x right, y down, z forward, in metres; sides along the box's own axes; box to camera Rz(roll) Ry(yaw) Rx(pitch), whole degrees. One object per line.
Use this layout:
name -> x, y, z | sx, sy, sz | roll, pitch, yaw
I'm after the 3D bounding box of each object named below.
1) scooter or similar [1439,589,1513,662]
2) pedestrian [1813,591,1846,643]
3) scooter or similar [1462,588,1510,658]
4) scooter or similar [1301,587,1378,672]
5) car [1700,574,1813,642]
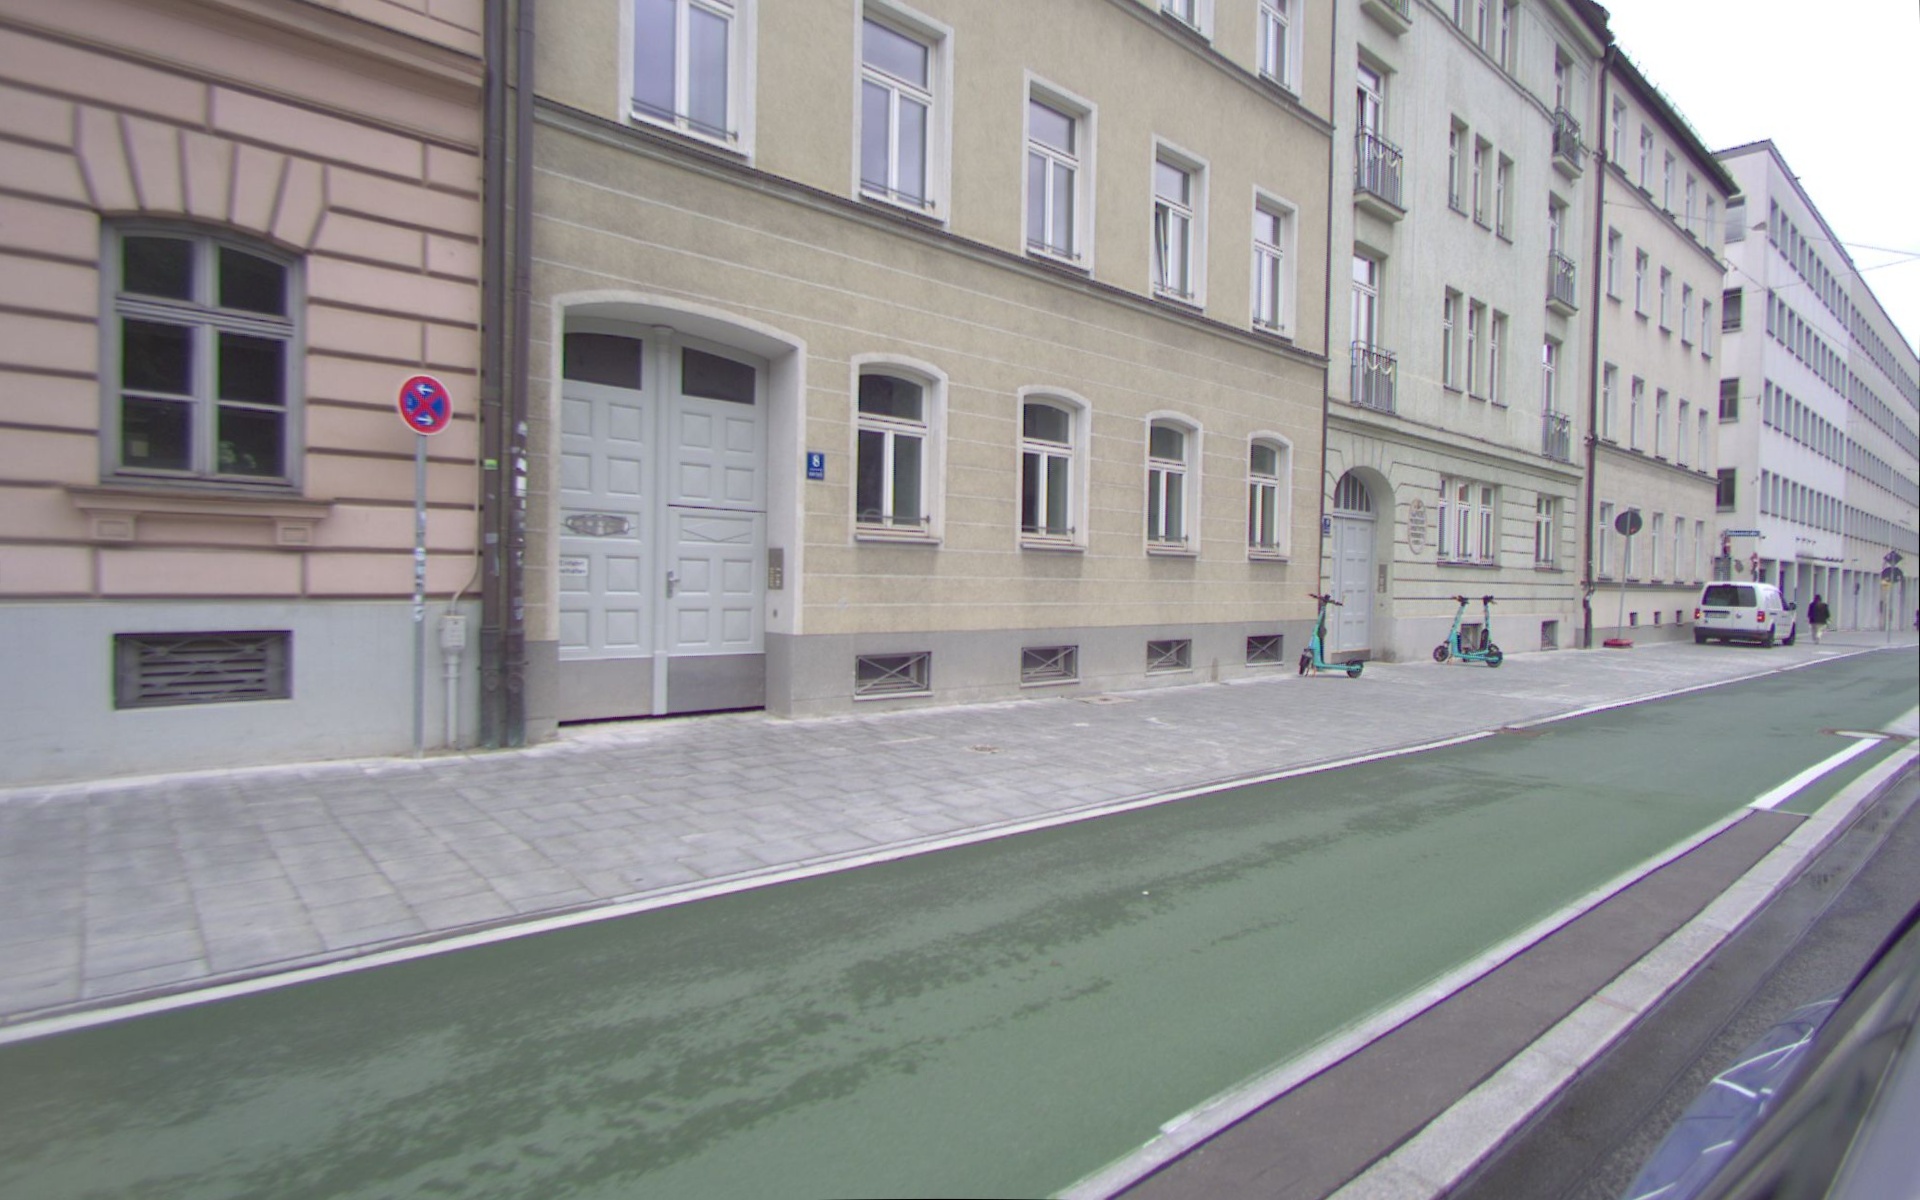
scooter or similar -> 9.277, 0.452, 18.214 | 1.104, 1.246, 0.246 | 3, 3, 16
pedestrian -> 28.220, 0.537, 32.833 | 0.724, 1.656, 0.666 | 1, 2, -41
scooter or similar -> 9.978, 0.419, 19.193 | 1.100, 1.288, 0.387 | -1, 3, -42
scooter or similar -> 5.685, 0.447, 15.167 | 1.096, 1.246, 0.248 | 1, 3, -15
car -> 23.007, 0.198, 29.191 | 4.358, 1.771, 1.737 | 0, 2, -41
